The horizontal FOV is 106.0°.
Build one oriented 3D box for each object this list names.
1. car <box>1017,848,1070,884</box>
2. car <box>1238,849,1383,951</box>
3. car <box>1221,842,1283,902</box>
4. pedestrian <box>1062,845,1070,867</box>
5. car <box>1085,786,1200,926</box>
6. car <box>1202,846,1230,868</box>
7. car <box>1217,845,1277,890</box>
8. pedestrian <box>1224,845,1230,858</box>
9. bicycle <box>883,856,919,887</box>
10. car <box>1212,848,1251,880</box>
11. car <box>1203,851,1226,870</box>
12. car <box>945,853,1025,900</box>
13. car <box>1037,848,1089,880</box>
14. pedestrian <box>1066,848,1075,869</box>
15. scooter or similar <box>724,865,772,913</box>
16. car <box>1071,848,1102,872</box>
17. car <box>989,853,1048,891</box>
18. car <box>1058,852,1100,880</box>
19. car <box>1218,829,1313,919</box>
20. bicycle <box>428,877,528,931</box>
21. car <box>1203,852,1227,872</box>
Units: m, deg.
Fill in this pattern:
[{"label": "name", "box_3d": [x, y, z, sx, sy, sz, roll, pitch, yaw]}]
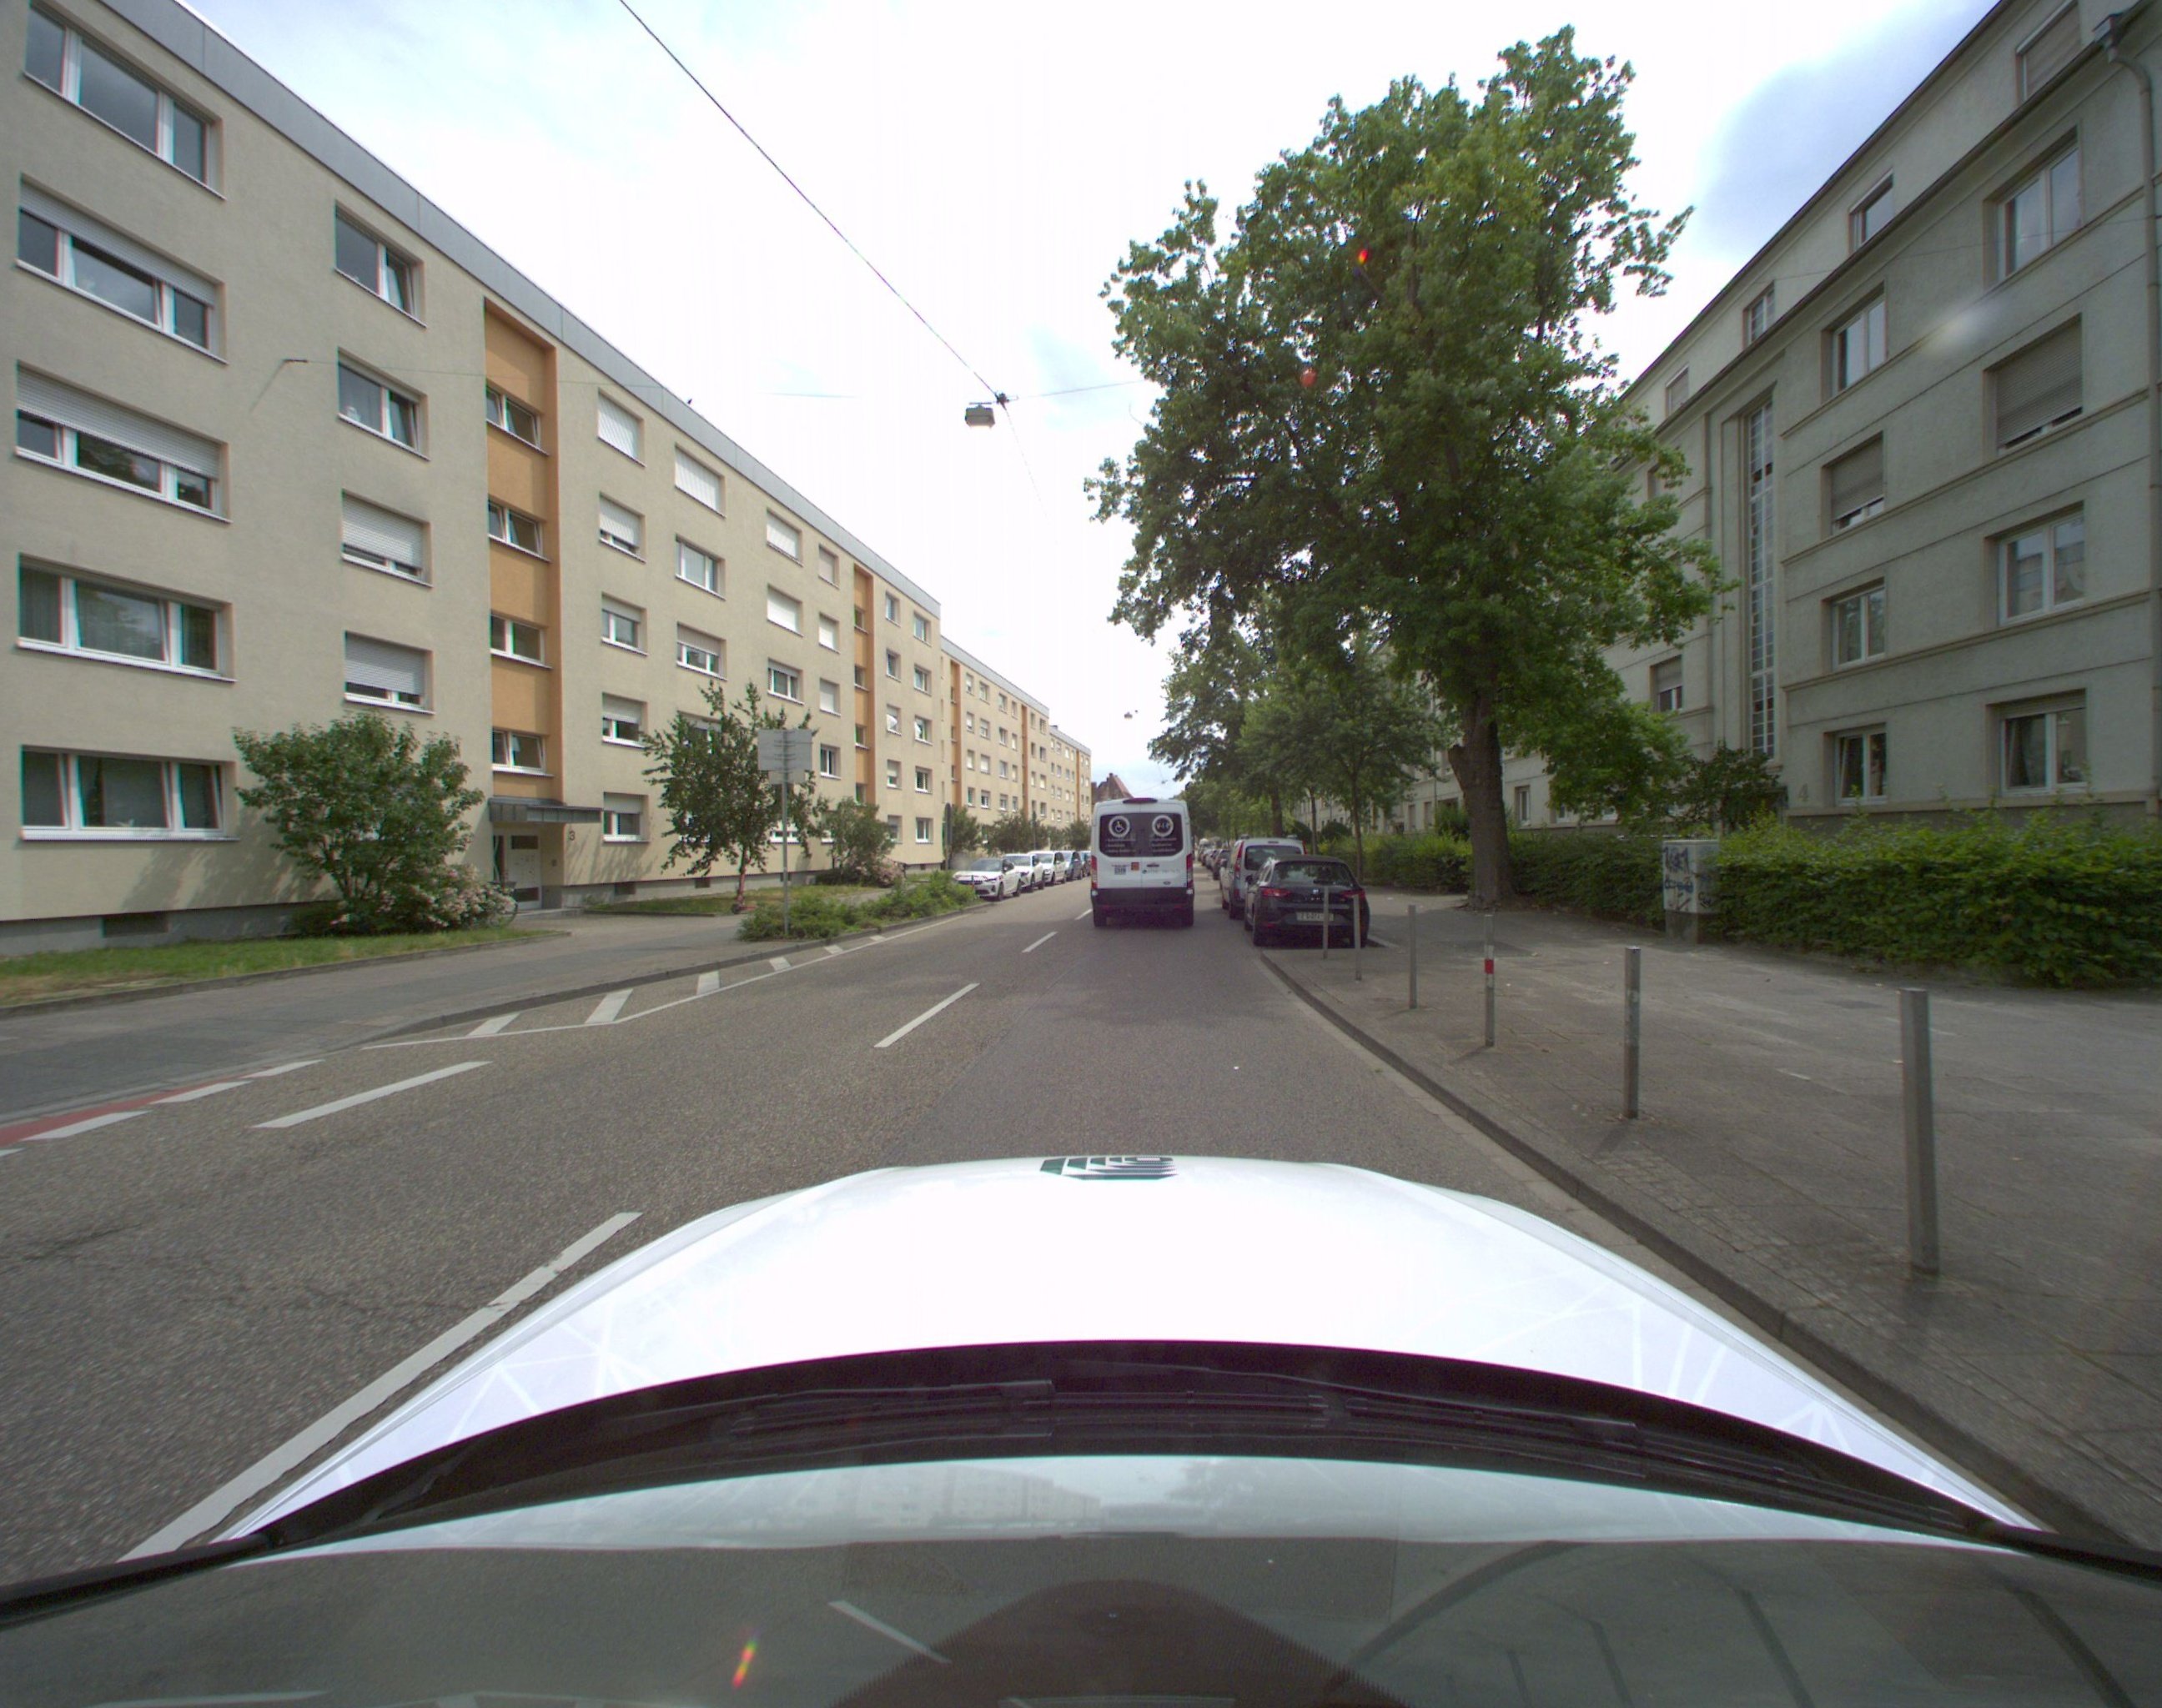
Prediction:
[{"label": "car", "box_3d": [-1.733, 0.547, 39.072, 1.687, 1.612, 4.488, 0, 0, 9]}, {"label": "car", "box_3d": [3.712, 0.651, 13.904, 1.906, 1.444, 4.249, 0, 0, 9]}, {"label": "car", "box_3d": [4.979, 0.470, 24.075, 1.595, 1.608, 3.814, 1, 0, 9]}, {"label": "pedestrian", "box_3d": [-1.260, 0.133, 68.033, 0.616, 1.813, 0.901, 0, 0, 5]}, {"label": "car", "box_3d": [1.383, 0.056, 17.438, 2.060, 2.540, 4.642, -2, -1, 6]}, {"label": "car", "box_3d": [9.382, 0.200, 56.913, 1.688, 1.469, 4.727, 0, 0, 7]}, {"label": "car", "box_3d": [5.766, 0.439, 28.707, 1.688, 1.450, 4.108, 0, 0, 6]}, {"label": "pedestrian", "box_3d": [20.844, -0.308, 116.044, 0.526, 1.828, 0.518, -1, 0, -34]}, {"label": "bicycle", "box_3d": [-7.774, 0.757, 35.210, 0.574, 1.251, 1.943, -1, 1, 18]}, {"label": "car", "box_3d": [7.168, 0.451, 39.090, 1.687, 1.469, 4.111, 0, 0, 8]}, {"label": "car", "box_3d": [11.058, 0.519, 67.179, 1.768, 1.469, 4.628, 0, 0, 11]}, {"label": "car", "box_3d": [-3.236, 0.729, 28.237, 1.698, 1.473, 4.000, 0, 0, 9]}, {"label": "car", "box_3d": [-0.925, 0.510, 44.620, 1.930, 1.612, 4.874, 0, 0, 9]}, {"label": "pedestrian", "box_3d": [-0.937, 0.400, 72.694, 0.616, 1.813, 0.805, -2, 0, 5]}, {"label": "scooter or similar", "box_3d": [-8.818, 0.910, 21.589, 0.398, 1.193, 1.296, 0, 0, 19]}, {"label": "car", "box_3d": [0.421, 0.397, 56.481, 1.661, 1.561, 3.859, 0, 0, 7]}, {"label": "car", "box_3d": [-2.514, 0.687, 33.719, 1.700, 1.473, 3.996, 0, 0, 6]}, {"label": "car", "box_3d": [-0.064, 0.678, 49.903, 1.931, 1.612, 4.312, 0, 0, 8]}, {"label": "car", "box_3d": [4.272, 0.397, 19.478, 1.906, 1.865, 4.858, 0, 0, 9]}, {"label": "bicycle", "box_3d": [-12.847, 1.041, 17.418, 0.408, 1.038, 1.812, -1, 0, 17]}, {"label": "car", "box_3d": [10.198, 0.581, 62.069, 1.661, 1.400, 3.859, 1, 0, 7]}]
